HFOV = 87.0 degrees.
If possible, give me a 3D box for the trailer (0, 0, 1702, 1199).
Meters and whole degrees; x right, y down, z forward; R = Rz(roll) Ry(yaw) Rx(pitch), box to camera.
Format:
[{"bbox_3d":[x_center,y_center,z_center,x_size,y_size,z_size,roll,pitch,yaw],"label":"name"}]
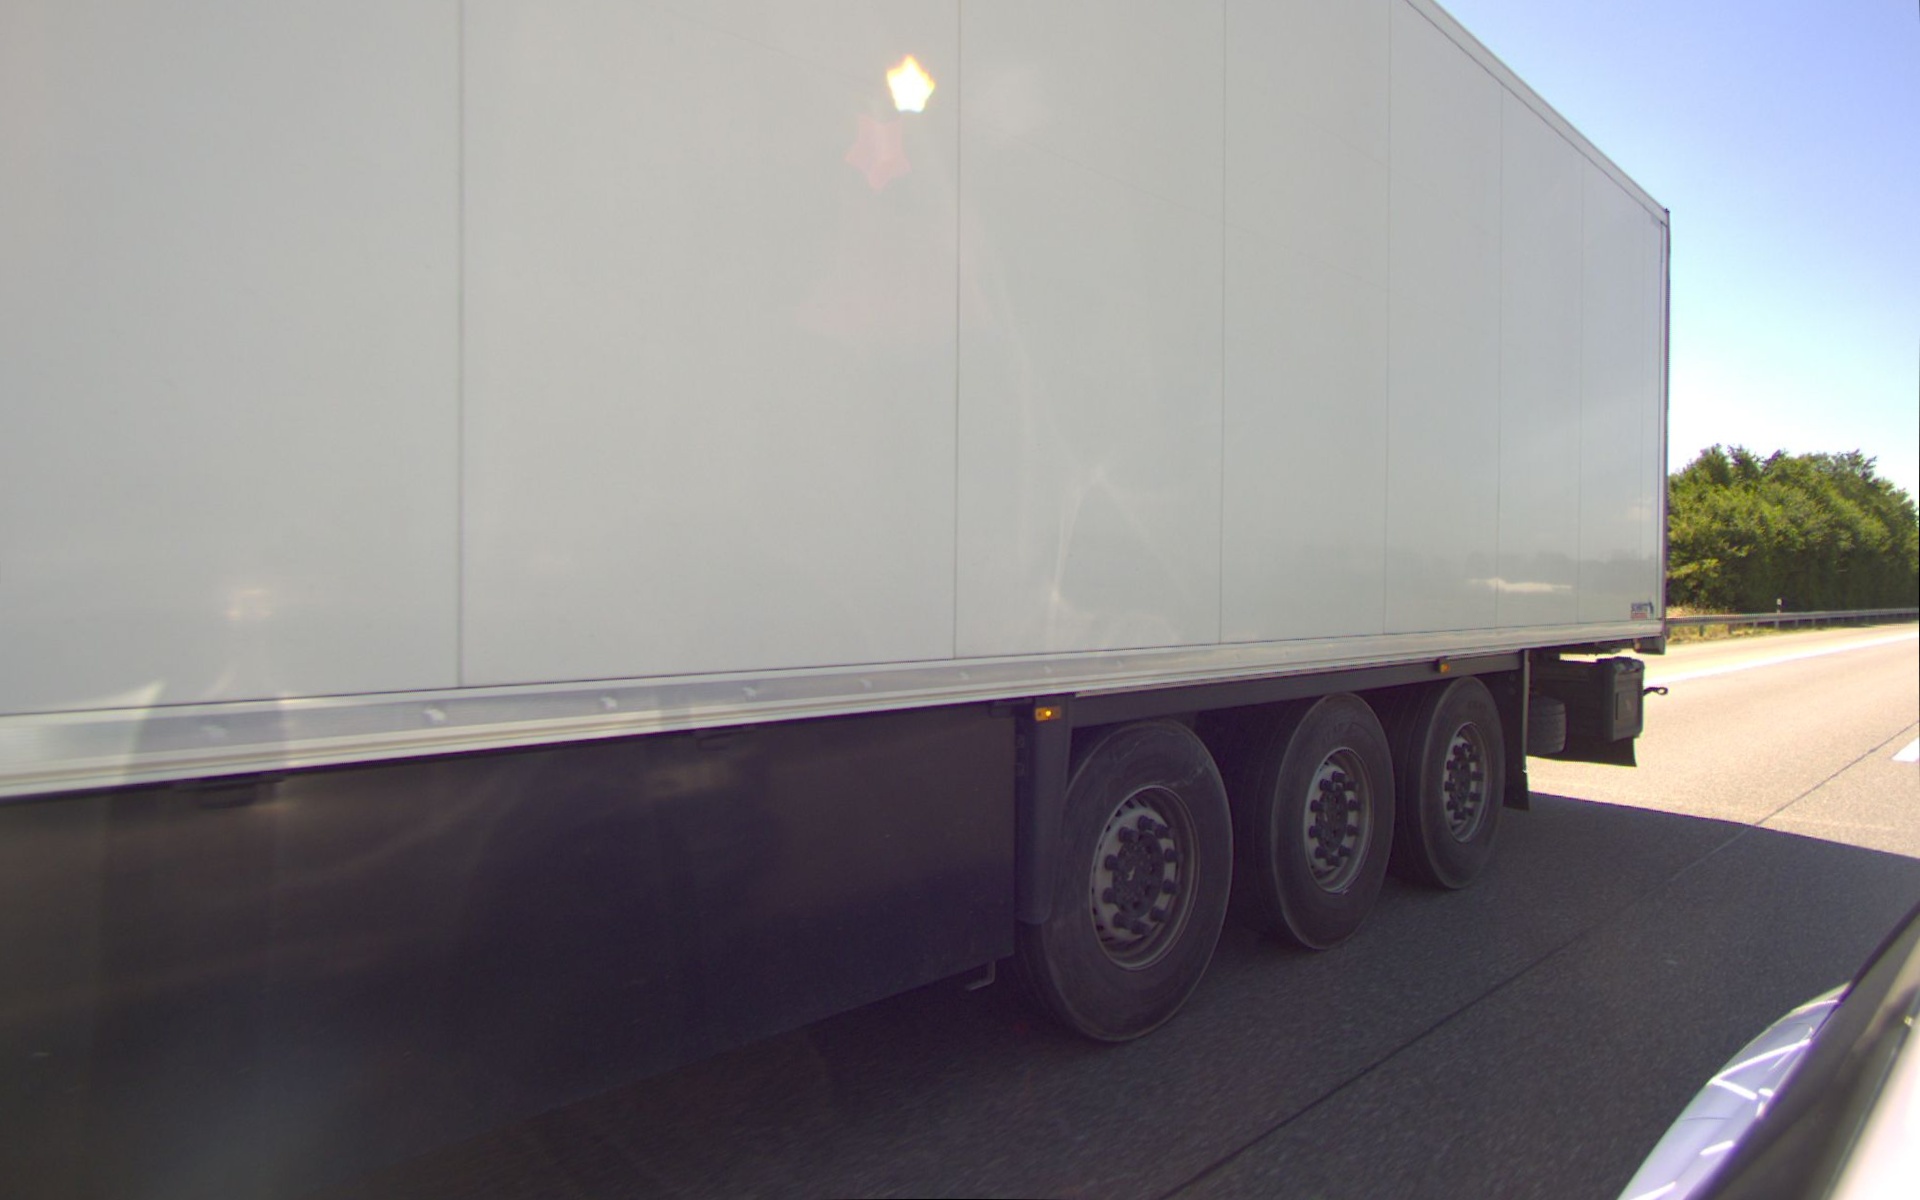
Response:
[{"bbox_3d":[-0.923,-0.685,3.305,13.639,4.113,2.474,-1,0,-41],"label":"trailer"}]
